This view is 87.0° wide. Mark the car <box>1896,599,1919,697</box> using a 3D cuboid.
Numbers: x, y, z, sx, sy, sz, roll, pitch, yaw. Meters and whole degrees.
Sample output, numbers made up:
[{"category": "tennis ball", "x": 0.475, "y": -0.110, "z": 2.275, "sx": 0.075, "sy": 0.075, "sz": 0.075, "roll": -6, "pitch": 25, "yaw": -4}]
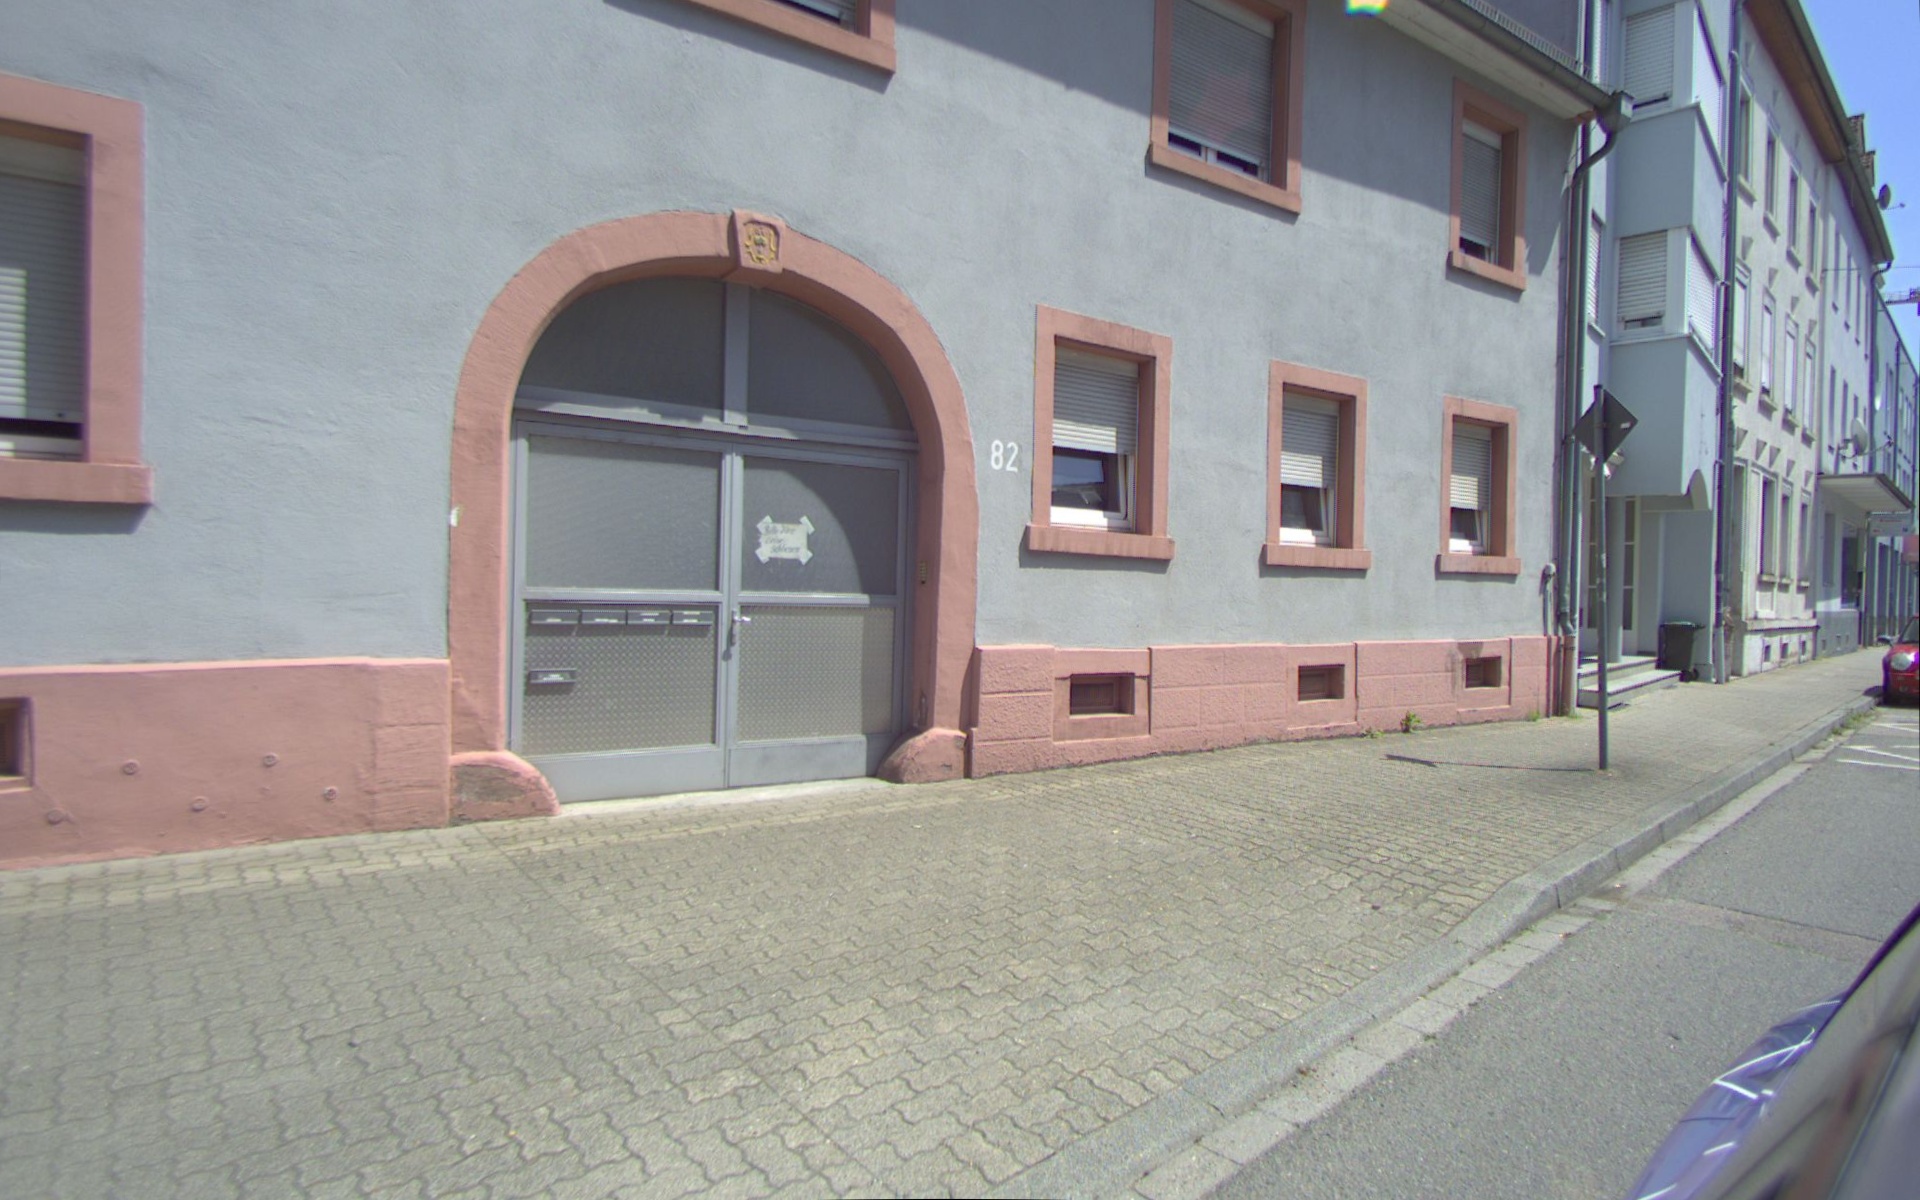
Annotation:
[{"category": "car", "x": 15.415, "y": 0.700, "z": 15.338, "sx": 3.480, "sy": 1.403, "sz": 1.620, "roll": 0, "pitch": 1, "yaw": -44}]

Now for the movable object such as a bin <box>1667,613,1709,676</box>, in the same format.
[{"category": "movable object such as a bin", "x": 11.506, "y": 0.696, "z": 15.988, "sx": 0.472, "sy": 0.946, "sz": 0.481, "roll": 3, "pitch": 2, "yaw": 41}]
